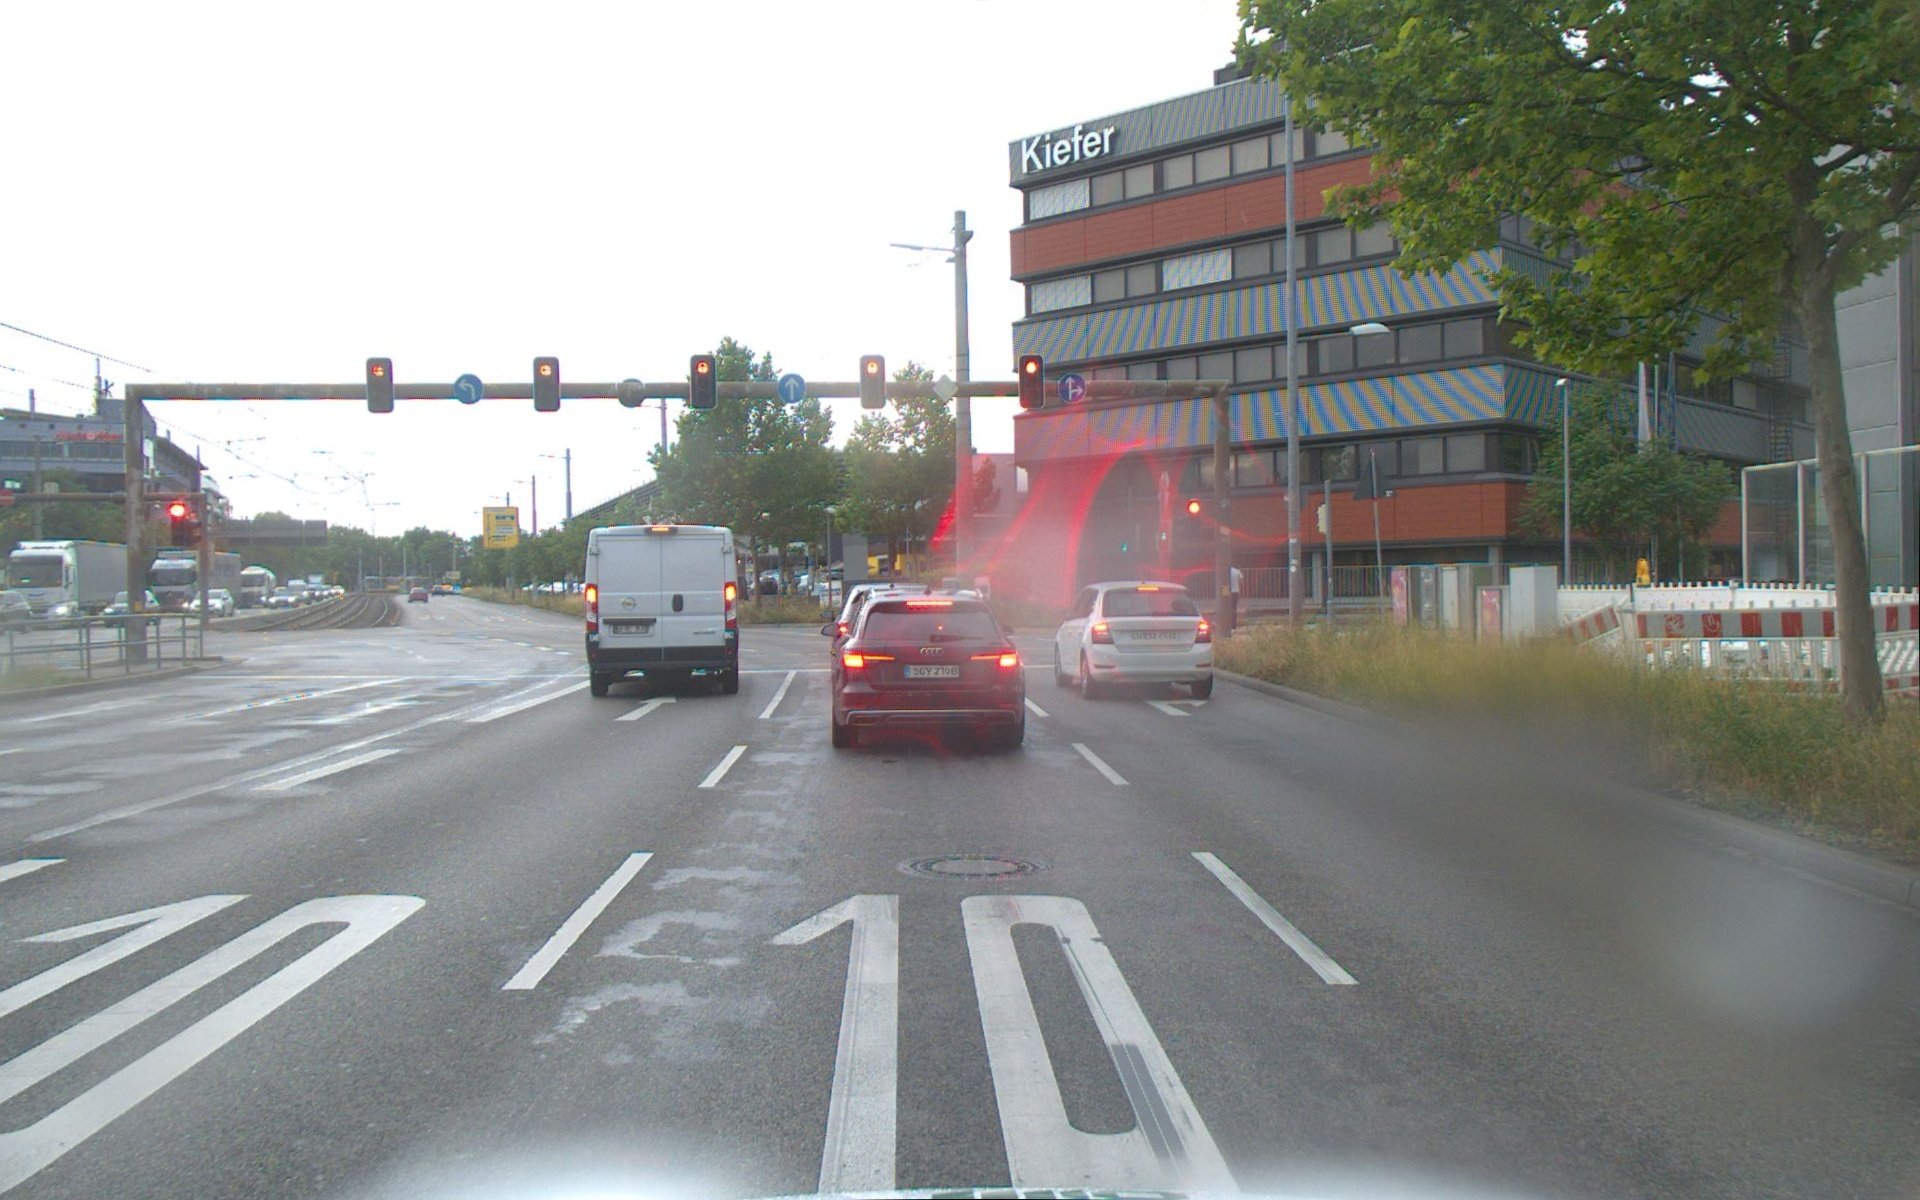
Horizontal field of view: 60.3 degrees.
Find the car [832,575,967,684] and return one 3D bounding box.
[{"bbox_3d":[-0.858,0.420,24.831,1.855,1.491,3.908,-1,0,-1],"label":"car"}]

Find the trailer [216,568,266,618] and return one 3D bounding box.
[{"bbox_3d":[-62.288,-0.545,143.171,2.696,3.922,11.114,-2,0,-30],"label":"trailer"}]

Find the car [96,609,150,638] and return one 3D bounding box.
[{"bbox_3d":[-39.207,1.071,77.543,1.882,1.286,4.383,2,-1,-23],"label":"car"}]

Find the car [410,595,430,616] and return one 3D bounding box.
[{"bbox_3d":[-54.156,0.586,165.788,1.745,2.049,4.326,1,-1,-17],"label":"car"}]

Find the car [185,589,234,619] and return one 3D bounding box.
[{"bbox_3d":[-44.692,0.255,98.551,1.855,1.681,4.081,1,-1,-13],"label":"car"}]

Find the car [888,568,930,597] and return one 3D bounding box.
[{"bbox_3d":[-3.805,-1.281,122.331,1.845,2.049,3.747,2,-1,-23],"label":"car"}]

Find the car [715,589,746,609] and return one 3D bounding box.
[{"bbox_3d":[-19.542,-0.112,140.774,1.765,1.619,3.976,-1,0,-20],"label":"car"}]

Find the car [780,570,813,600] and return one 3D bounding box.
[{"bbox_3d":[-11.744,-1.035,118.506,1.653,2.049,3.524,1,-1,-18],"label":"car"}]

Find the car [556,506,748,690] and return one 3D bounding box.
[{"bbox_3d":[-4.356,-0.002,23.915,2.400,2.334,4.894,1,-1,-9],"label":"car"}]

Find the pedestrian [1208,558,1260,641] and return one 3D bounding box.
[{"bbox_3d":[7.389,-0.036,44.636,1.120,2.162,1.222,-2,2,-3],"label":"pedestrian"}]

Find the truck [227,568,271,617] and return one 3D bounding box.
[{"bbox_3d":[-59.541,-0.592,138.361,2.717,3.871,5.357,-2,0,-30],"label":"truck"}]

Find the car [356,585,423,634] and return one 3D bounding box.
[{"bbox_3d":[-24.950,0.399,72.412,1.738,2.049,4.342,1,0,-5],"label":"car"}]

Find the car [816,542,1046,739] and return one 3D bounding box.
[{"bbox_3d":[-0.316,0.371,16.089,1.953,1.666,3.998,0,-1,-2],"label":"car"}]

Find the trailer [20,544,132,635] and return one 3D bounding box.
[{"bbox_3d":[-43.823,-0.535,82.345,2.751,4.179,11.386,-1,1,-18],"label":"trailer"}]

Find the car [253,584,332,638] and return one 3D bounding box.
[{"bbox_3d":[-26.934,0.403,66.846,1.738,2.049,4.343,1,1,-5],"label":"car"}]

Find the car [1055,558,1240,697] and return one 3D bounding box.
[{"bbox_3d":[2.406,0.356,22.179,1.793,1.685,3.997,1,-1,-4],"label":"car"}]

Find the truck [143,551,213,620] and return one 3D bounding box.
[{"bbox_3d":[-50.142,-0.884,106.170,2.620,4.202,6.166,-1,0,-12],"label":"truck"}]

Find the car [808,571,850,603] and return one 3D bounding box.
[{"bbox_3d":[-8.700,-0.852,109.879,1.962,2.067,3.981,-2,1,-17],"label":"car"}]

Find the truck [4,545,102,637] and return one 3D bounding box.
[{"bbox_3d":[-42.142,-0.442,77.039,2.787,4.065,5.958,-1,1,-17],"label":"truck"}]

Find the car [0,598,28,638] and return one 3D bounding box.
[{"bbox_3d":[-36.903,0.674,62.708,1.710,1.488,4.136,1,-1,-15],"label":"car"}]

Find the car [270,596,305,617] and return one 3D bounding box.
[{"bbox_3d":[-52.943,0.514,130.231,1.871,1.582,4.549,1,0,-14],"label":"car"}]

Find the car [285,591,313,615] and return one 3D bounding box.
[{"bbox_3d":[-58.708,0.258,146.884,1.963,1.869,4.882,3,1,-19],"label":"car"}]
